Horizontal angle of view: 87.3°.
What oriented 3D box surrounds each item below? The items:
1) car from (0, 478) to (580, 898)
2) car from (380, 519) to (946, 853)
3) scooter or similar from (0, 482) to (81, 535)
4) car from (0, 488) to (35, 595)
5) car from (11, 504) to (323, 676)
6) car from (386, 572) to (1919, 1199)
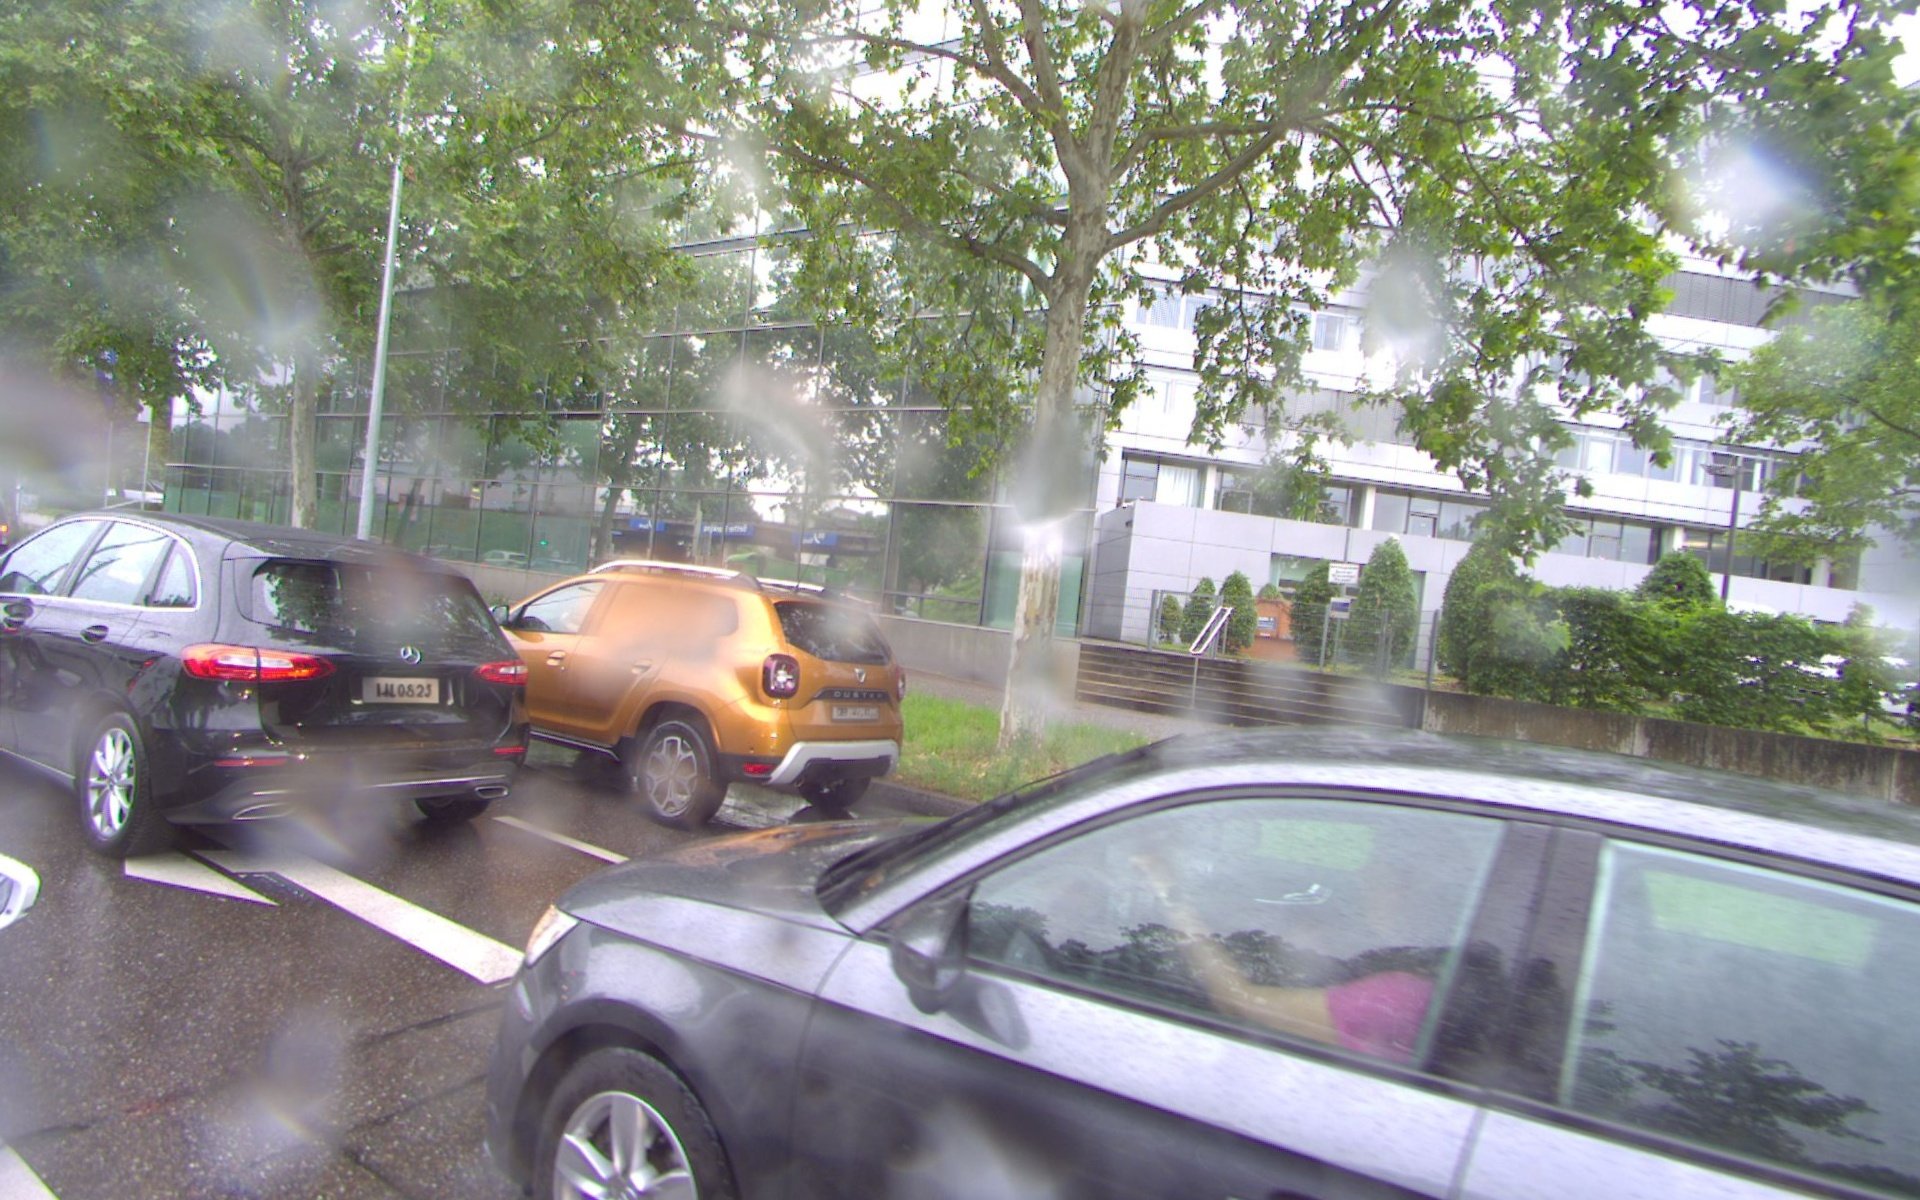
[{"bbox_3d":[-4.300,0.266,5.721,4.022,1.573,1.751,7,-1,31],"label":"car"},{"bbox_3d":[-2.369,0.512,7.696,4.079,1.704,1.679,7,-2,32],"label":"car"},{"bbox_3d":[-54.498,-5.409,58.107,5.228,2.476,1.893,7,0,-9],"label":"scooter or similar"},{"bbox_3d":[-17.709,-1.193,17.104,4.201,1.714,1.714,6,-2,32],"label":"car"},{"bbox_3d":[-9.008,-0.127,11.393,3.332,1.480,1.572,7,-1,31],"label":"car"},{"bbox_3d":[0.777,0.910,2.039,3.718,1.445,1.679,7,-1,31],"label":"car"}]
